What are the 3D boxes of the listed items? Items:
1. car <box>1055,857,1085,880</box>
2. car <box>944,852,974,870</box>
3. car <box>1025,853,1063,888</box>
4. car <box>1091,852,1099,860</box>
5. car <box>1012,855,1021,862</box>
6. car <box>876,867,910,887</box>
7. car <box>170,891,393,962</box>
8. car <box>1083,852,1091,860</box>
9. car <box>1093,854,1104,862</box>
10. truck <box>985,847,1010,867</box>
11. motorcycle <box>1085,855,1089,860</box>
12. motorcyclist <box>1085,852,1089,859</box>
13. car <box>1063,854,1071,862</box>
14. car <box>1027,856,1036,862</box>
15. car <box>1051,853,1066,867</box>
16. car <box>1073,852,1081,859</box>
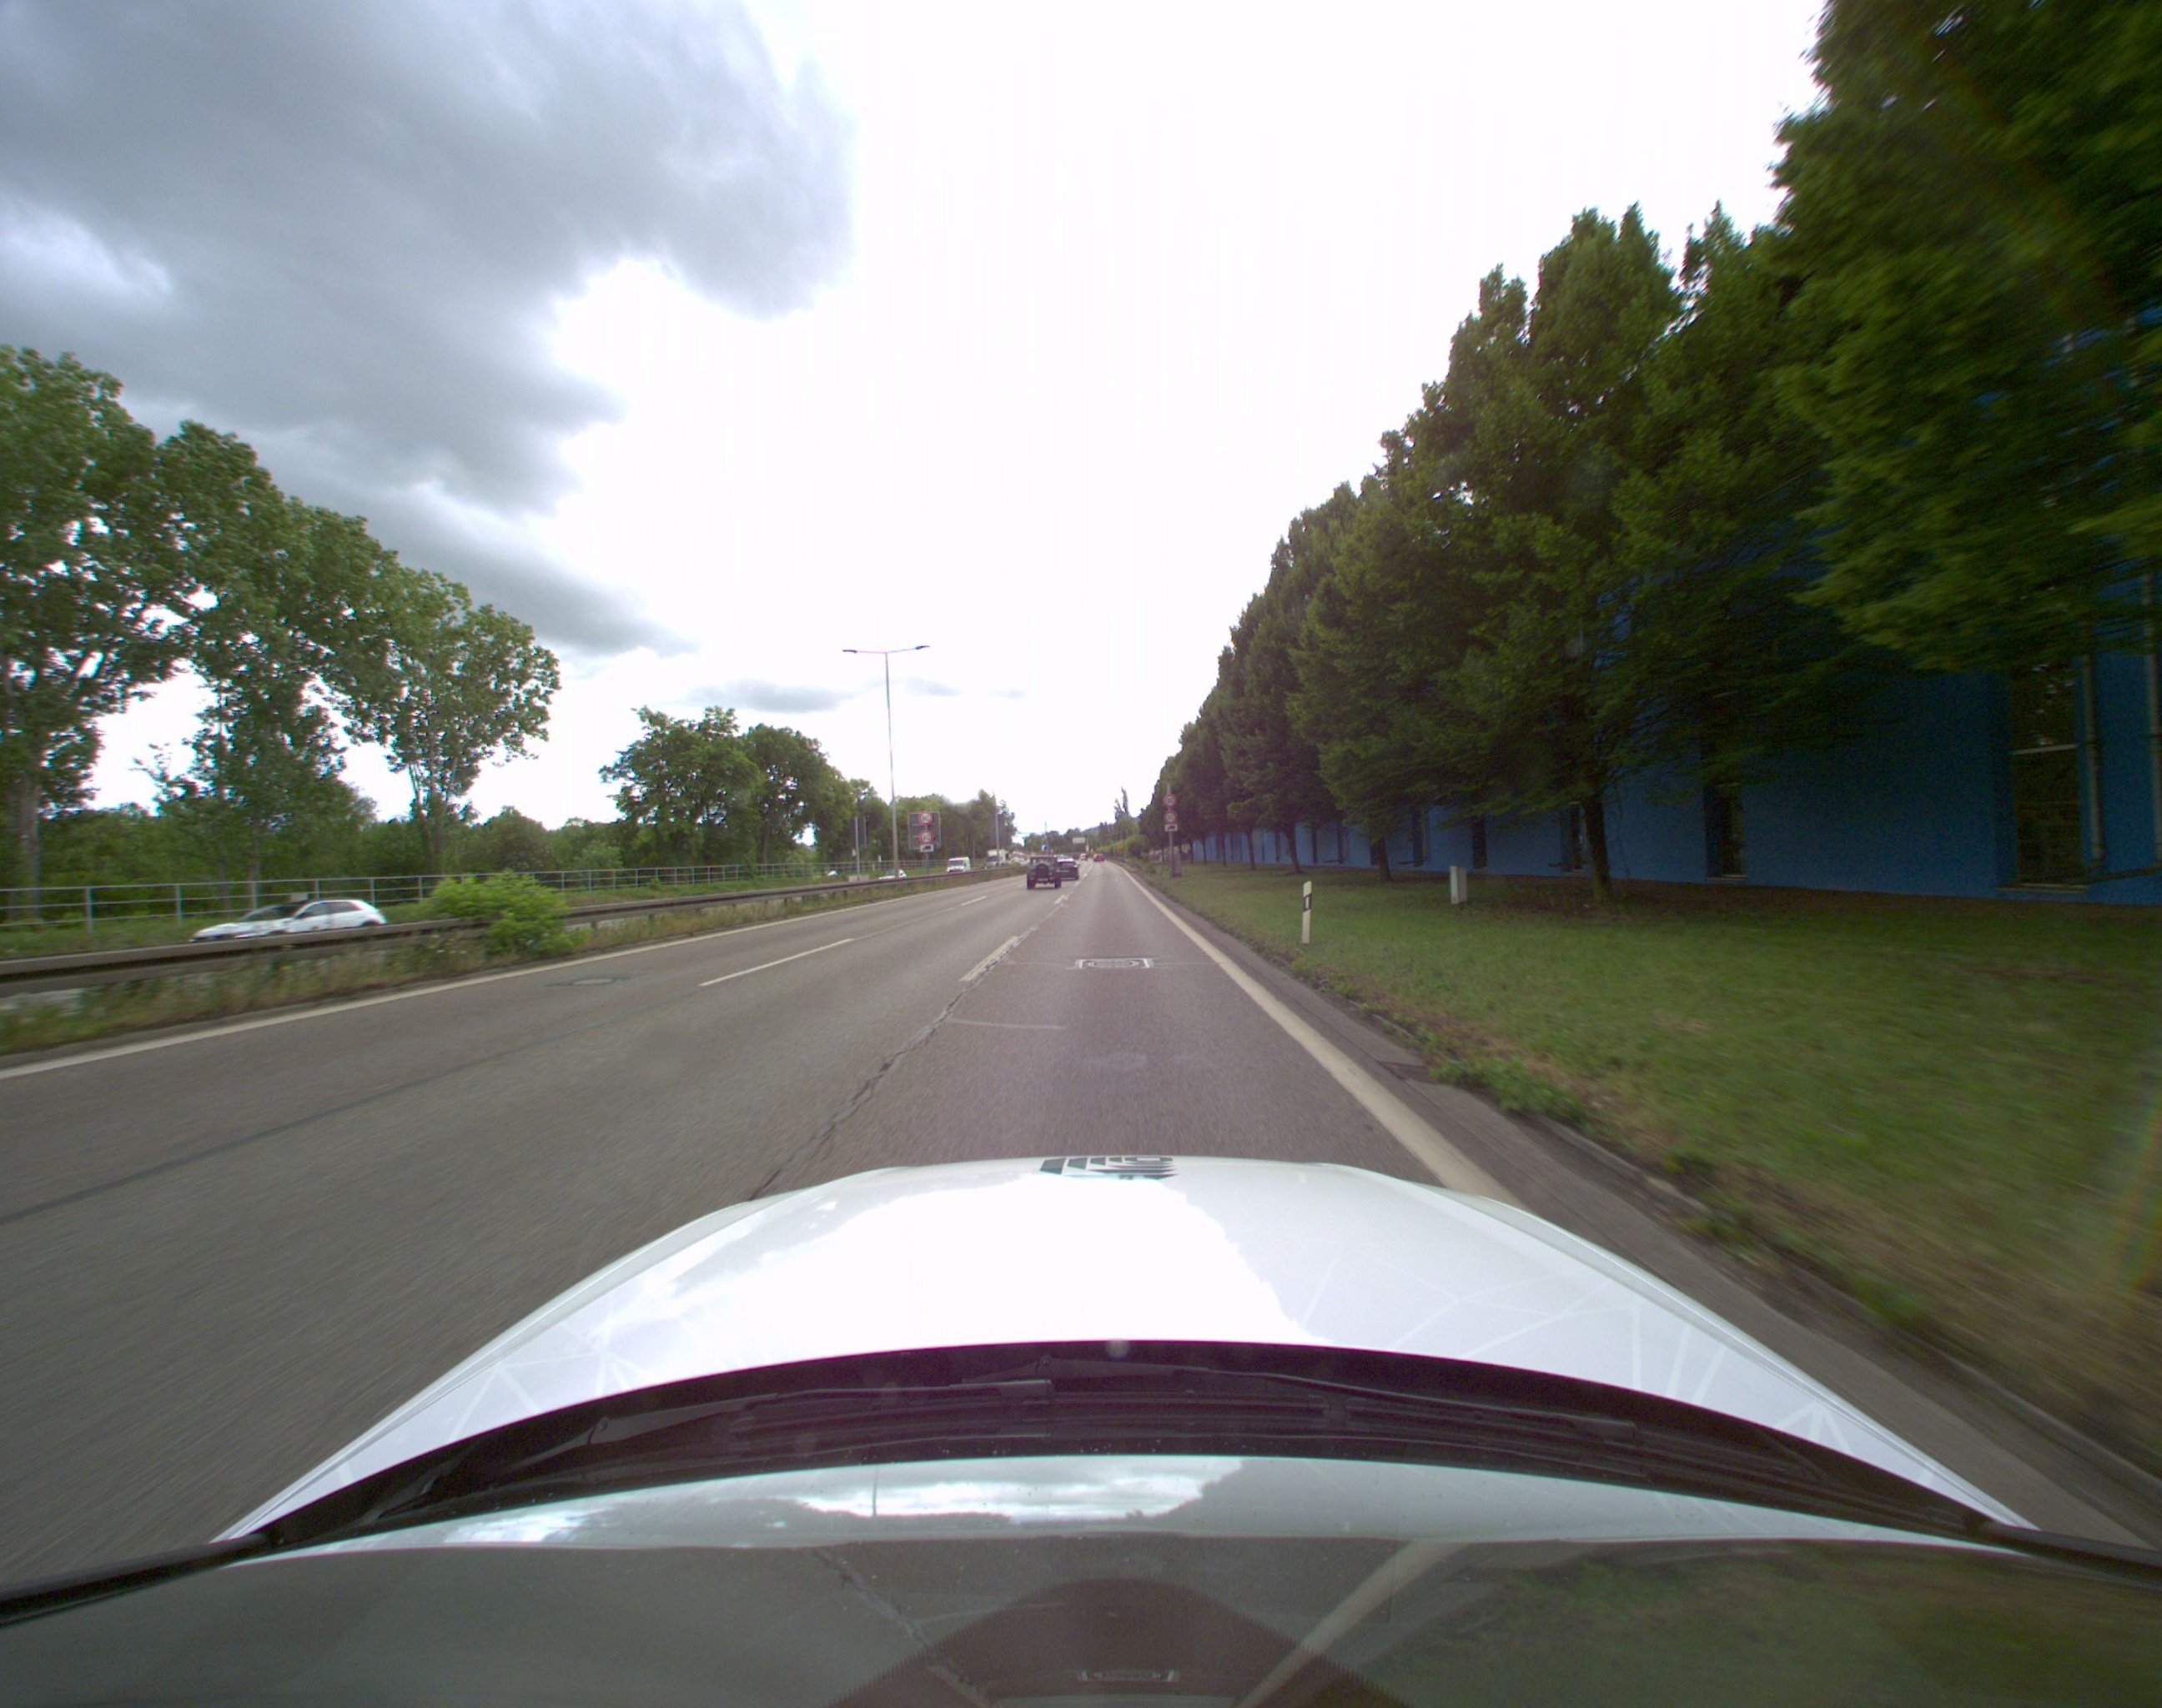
[{"bbox_3d":[-0.719,0.978,56.731,1.839,1.423,4.900,-4,0,1],"label":"car"},{"bbox_3d":[-13.971,0.783,93.553,2.216,1.948,5.479,-3,0,4],"label":"car"},{"bbox_3d":[-1.887,0.813,42.529,1.691,1.686,4.002,0,1,2],"label":"car"},{"bbox_3d":[3.119,0.387,177.050,1.691,1.742,4.394,-3,0,1],"label":"car"},{"bbox_3d":[-16.182,1.198,204.959,1.720,1.605,4.044,-5,0,2],"label":"car"},{"bbox_3d":[-15.231,1.856,65.991,1.653,1.398,3.991,-2,0,2],"label":"car"},{"bbox_3d":[-21.845,1.918,22.542,1.871,1.489,4.204,-2,0,2],"label":"car"},{"bbox_3d":[1.571,0.536,210.870,2.006,1.934,4.900,-4,0,1],"label":"car"},{"bbox_3d":[3.371,0.811,156.654,1.968,1.423,4.900,-4,0,1],"label":"car"},{"bbox_3d":[-15.606,0.558,153.223,2.876,3.578,9.597,-3,0,4],"label":"truck"},{"bbox_3d":[1.494,0.842,191.840,0.788,1.219,2.331,-2,0,2],"label":"motorcycle"},{"bbox_3d":[1.472,0.340,191.773,0.788,1.760,0.923,-2,0,1],"label":"motorcyclist"},{"bbox_3d":[-3.261,0.873,191.517,1.692,1.742,4.393,-4,0,0],"label":"car"},{"bbox_3d":[-13.195,1.302,216.482,1.691,1.605,4.540,-5,0,2],"label":"car"},{"bbox_3d":[-3.022,0.769,109.088,1.692,1.742,4.000,-3,0,1],"label":"car"},{"bbox_3d":[-0.999,0.478,227.183,2.008,1.934,4.897,-4,0,-1],"label":"car"}]
